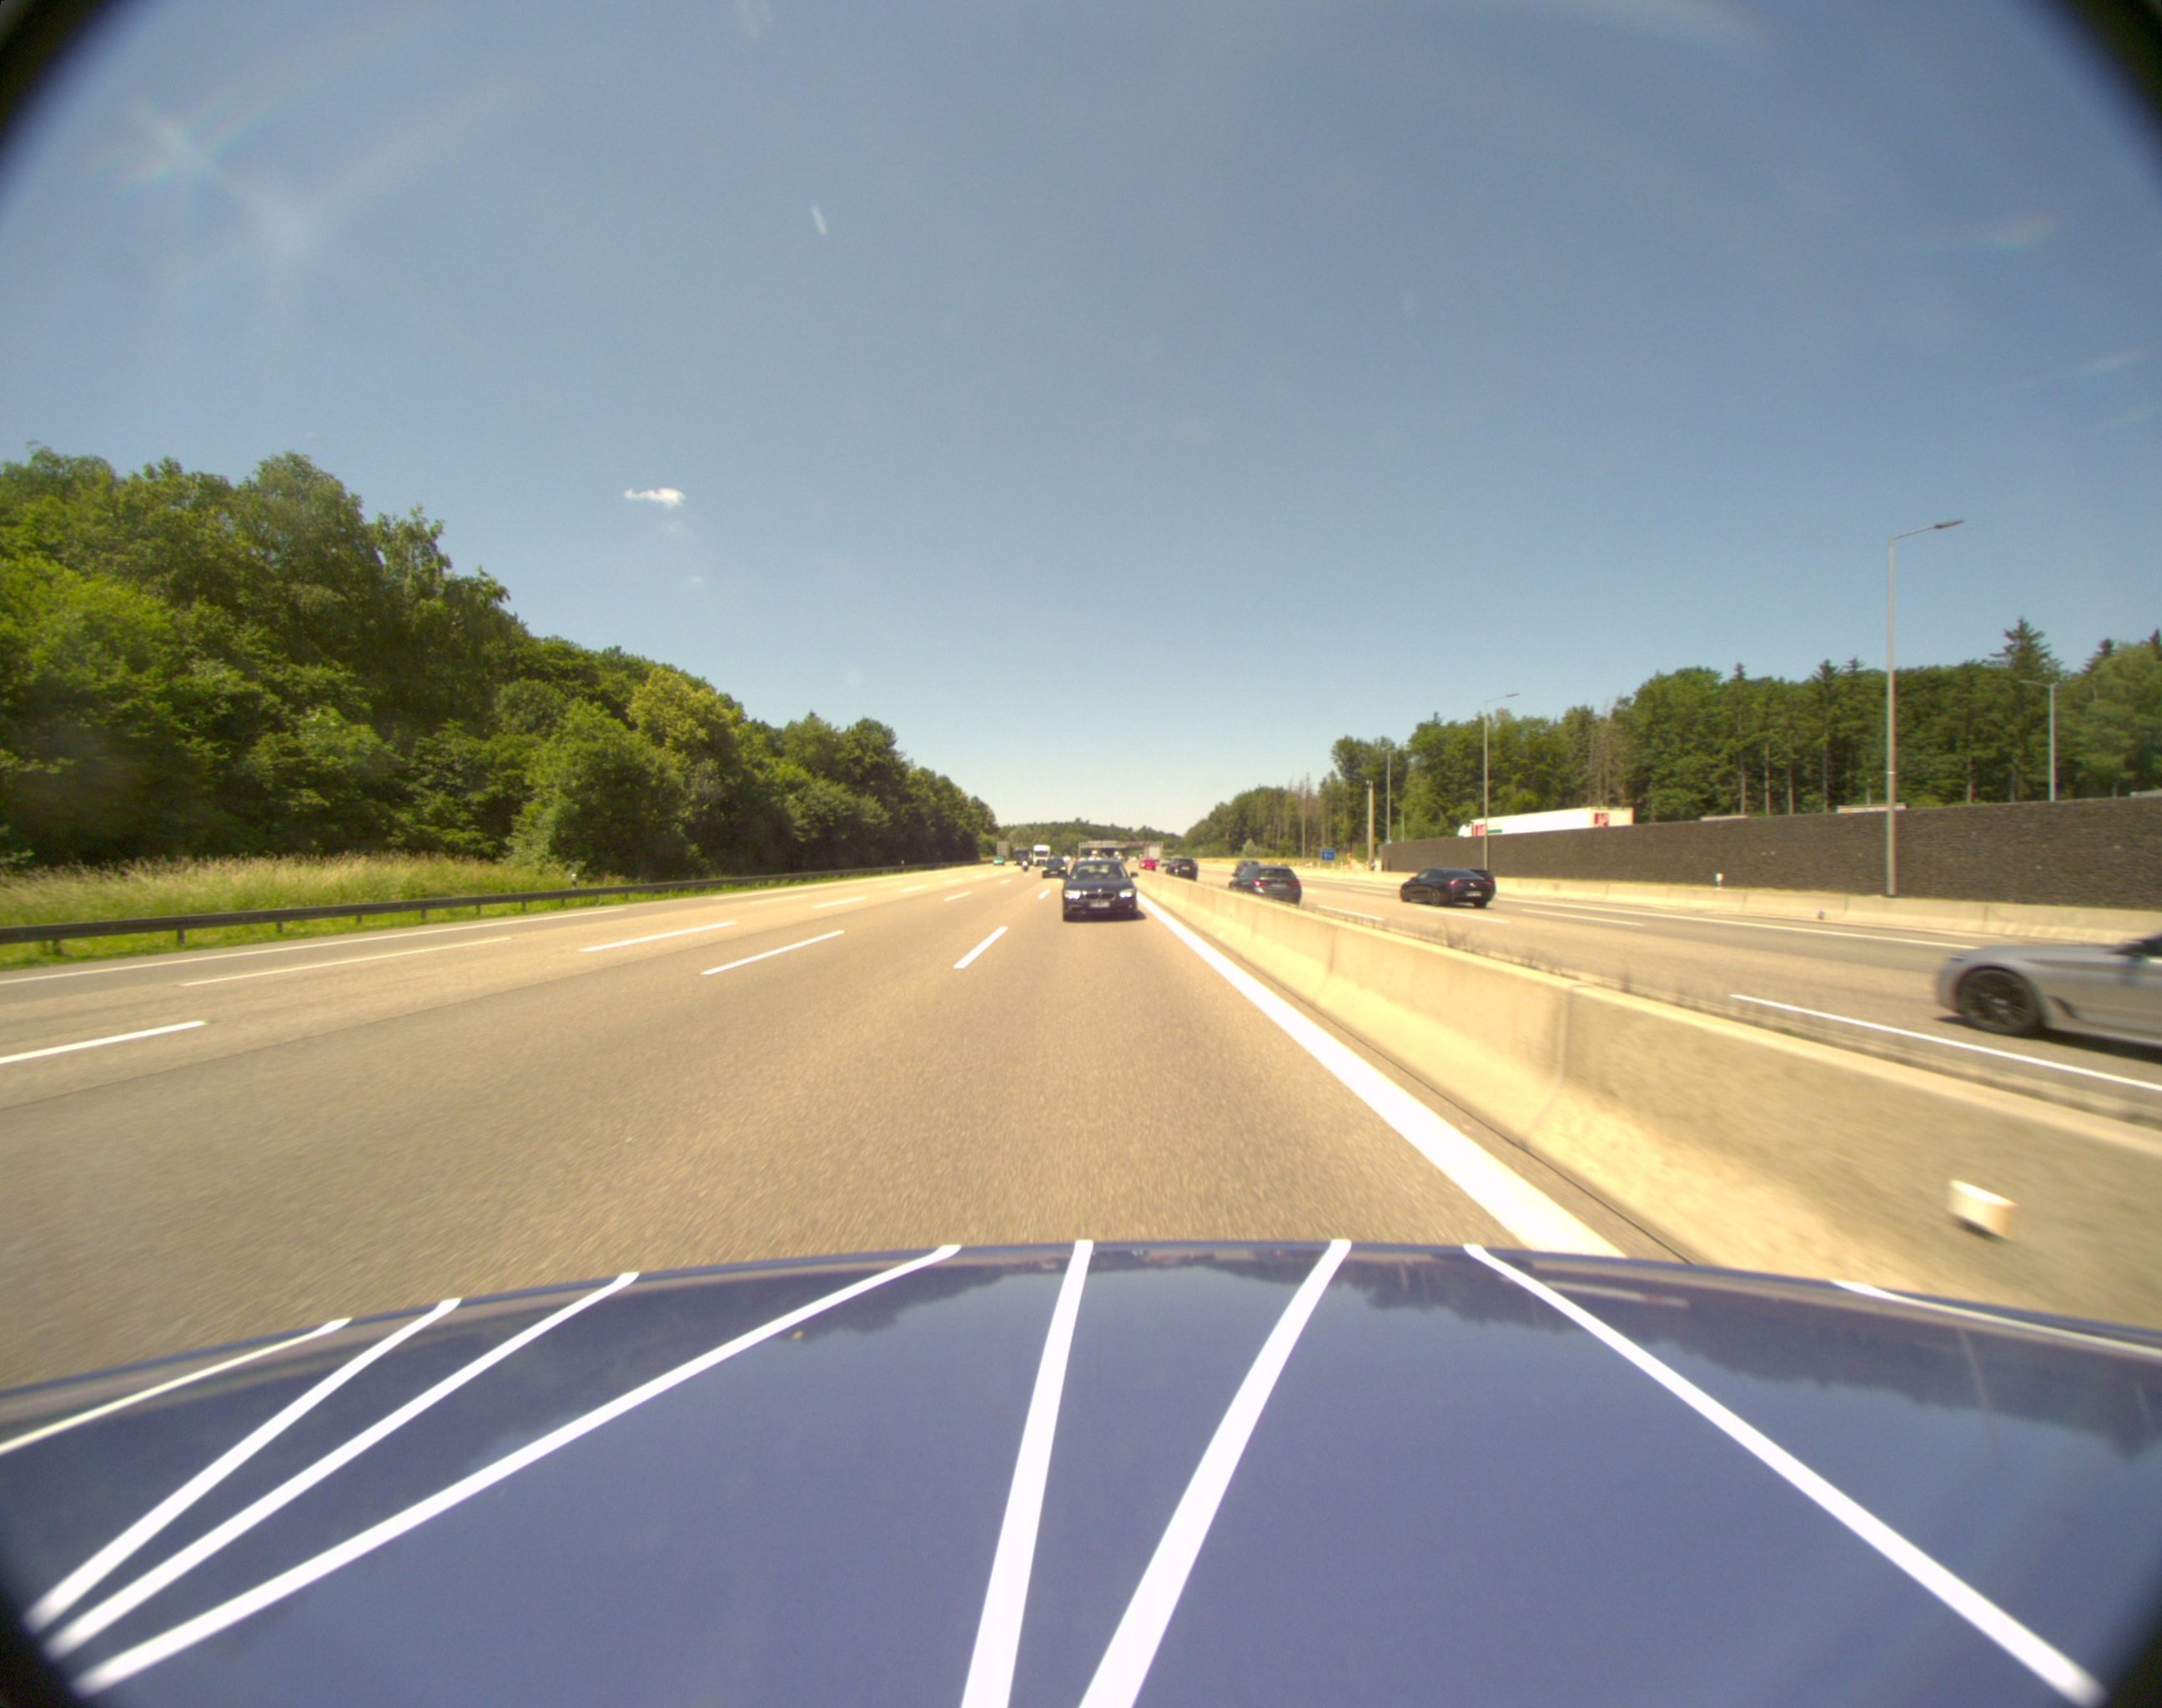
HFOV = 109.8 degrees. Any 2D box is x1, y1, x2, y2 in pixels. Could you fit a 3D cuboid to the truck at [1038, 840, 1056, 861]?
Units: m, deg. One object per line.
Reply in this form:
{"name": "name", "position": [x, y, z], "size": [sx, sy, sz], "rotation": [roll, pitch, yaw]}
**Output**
{"name": "truck", "position": [-5.352, -0.554, 119.807], "size": [2.428, 3.237, 8.689], "rotation": [0, 0, 0]}

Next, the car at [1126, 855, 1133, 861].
{"name": "car", "position": [15.237, 1.316, 237.789], "size": [1.999, 1.660, 4.611], "rotation": [1, 0, 0]}

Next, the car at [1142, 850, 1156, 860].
{"name": "car", "position": [11.800, 0.159, 133.048], "size": [1.998, 1.763, 5.923], "rotation": [0, 0, 1]}

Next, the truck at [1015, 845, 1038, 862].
{"name": "truck", "position": [-9.069, -0.125, 127.790], "size": [2.660, 2.839, 10.887], "rotation": [1, 0, 3]}

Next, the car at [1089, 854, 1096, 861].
{"name": "car", "position": [3.355, 1.056, 226.774], "size": [1.998, 1.935, 4.127], "rotation": [0, -1, 1]}

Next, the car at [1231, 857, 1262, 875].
{"name": "car", "position": [14.584, 1.039, 67.272], "size": [1.727, 1.546, 4.056], "rotation": [0, 0, -3]}

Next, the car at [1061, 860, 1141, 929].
{"name": "car", "position": [0.517, 0.917, 19.234], "size": [1.741, 1.450, 4.543], "rotation": [-2, 0, 2]}

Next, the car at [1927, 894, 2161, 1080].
{"name": "car", "position": [10.178, 1.203, 5.701], "size": [1.999, 1.478, 5.018], "rotation": [1, 0, -1]}

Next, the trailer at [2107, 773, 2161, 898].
{"name": "trailer", "position": [52.990, -0.845, 36.362], "size": [9.961, 5.580, 3.219], "rotation": [0, 1, -45]}

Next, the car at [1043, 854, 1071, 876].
{"name": "car", "position": [-1.699, 0.779, 55.684], "size": [1.834, 1.454, 4.204], "rotation": [0, 0, 1]}

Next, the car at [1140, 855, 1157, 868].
{"name": "car", "position": [7.967, 0.848, 90.022], "size": [1.735, 1.505, 5.044], "rotation": [0, 0, 1]}

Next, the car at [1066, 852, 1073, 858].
{"name": "car", "position": [-3.257, 0.249, 212.467], "size": [1.747, 1.529, 4.127], "rotation": [1, 0, 2]}

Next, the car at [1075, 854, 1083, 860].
{"name": "car", "position": [-0.565, 0.797, 202.754], "size": [1.910, 1.450, 4.127], "rotation": [0, 0, 1]}

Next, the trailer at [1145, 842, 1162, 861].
{"name": "trailer", "position": [16.111, -0.627, 169.521], "size": [2.761, 3.978, 14.467], "rotation": [0, 0, 1]}

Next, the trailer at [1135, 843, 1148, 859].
{"name": "trailer", "position": [15.747, -0.888, 198.035], "size": [2.577, 4.026, 14.181], "rotation": [0, 0, 1]}

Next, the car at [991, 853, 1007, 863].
{"name": "car", "position": [-13.572, 0.621, 125.777], "size": [1.998, 1.670, 4.127], "rotation": [1, 0, 2]}

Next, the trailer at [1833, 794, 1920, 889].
{"name": "trailer", "position": [48.407, -0.677, 46.435], "size": [14.597, 5.043, 3.214], "rotation": [0, 1, -44]}

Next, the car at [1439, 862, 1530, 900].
{"name": "car", "position": [18.706, 1.196, 35.459], "size": [1.999, 1.611, 4.213], "rotation": [0, 0, -1]}

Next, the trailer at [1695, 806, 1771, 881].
{"name": "trailer", "position": [49.695, -0.739, 57.665], "size": [14.597, 5.043, 3.121], "rotation": [0, 1, -44]}

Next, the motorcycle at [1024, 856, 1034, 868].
{"name": "motorcycle", "position": [-5.610, 0.875, 82.284], "size": [0.925, 1.310, 2.998], "rotation": [0, 0, 1]}

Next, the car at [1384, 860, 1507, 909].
{"name": "car", "position": [13.872, 1.083, 29.371], "size": [1.998, 1.611, 5.754], "rotation": [0, 0, 0]}

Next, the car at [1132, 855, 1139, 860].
{"name": "car", "position": [19.261, 1.292, 267.531], "size": [1.998, 1.660, 4.612], "rotation": [1, 0, 1]}

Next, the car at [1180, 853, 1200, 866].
{"name": "car", "position": [15.274, 0.714, 106.847], "size": [1.998, 1.763, 5.923], "rotation": [0, 0, 1]}

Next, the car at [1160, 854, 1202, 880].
{"name": "car", "position": [6.988, 0.858, 53.509], "size": [1.999, 1.653, 5.753], "rotation": [1, 0, -2]}

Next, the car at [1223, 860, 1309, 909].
{"name": "car", "position": [6.502, 1.016, 27.224], "size": [1.875, 1.538, 4.591], "rotation": [0, 0, -1]}

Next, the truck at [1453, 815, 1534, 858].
{"name": "truck", "position": [31.765, -1.310, 58.777], "size": [2.934, 3.106, 6.202], "rotation": [0, 0, 1]}

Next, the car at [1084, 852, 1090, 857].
{"name": "car", "position": [2.087, 0.163, 247.436], "size": [1.910, 1.450, 4.126], "rotation": [0, 0, 0]}

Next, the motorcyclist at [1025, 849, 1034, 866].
{"name": "motorcyclist", "position": [-5.596, 0.371, 82.315], "size": [0.914, 1.926, 0.905], "rotation": [0, 1, 0]}

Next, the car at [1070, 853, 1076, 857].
{"name": "car", "position": [-2.681, 0.403, 260.241], "size": [1.910, 1.450, 4.127], "rotation": [1, 0, 1]}

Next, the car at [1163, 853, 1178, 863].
{"name": "car", "position": [15.945, 0.741, 135.626], "size": [1.998, 1.763, 5.038], "rotation": [0, 0, 1]}

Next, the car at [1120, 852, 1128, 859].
{"name": "car", "position": [10.341, 0.307, 183.310], "size": [1.788, 1.633, 5.463], "rotation": [0, 0, 1]}

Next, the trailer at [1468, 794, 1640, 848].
{"name": "trailer", "position": [31.821, -2.023, 52.471], "size": [2.979, 3.106, 14.609], "rotation": [0, 0, 1]}
